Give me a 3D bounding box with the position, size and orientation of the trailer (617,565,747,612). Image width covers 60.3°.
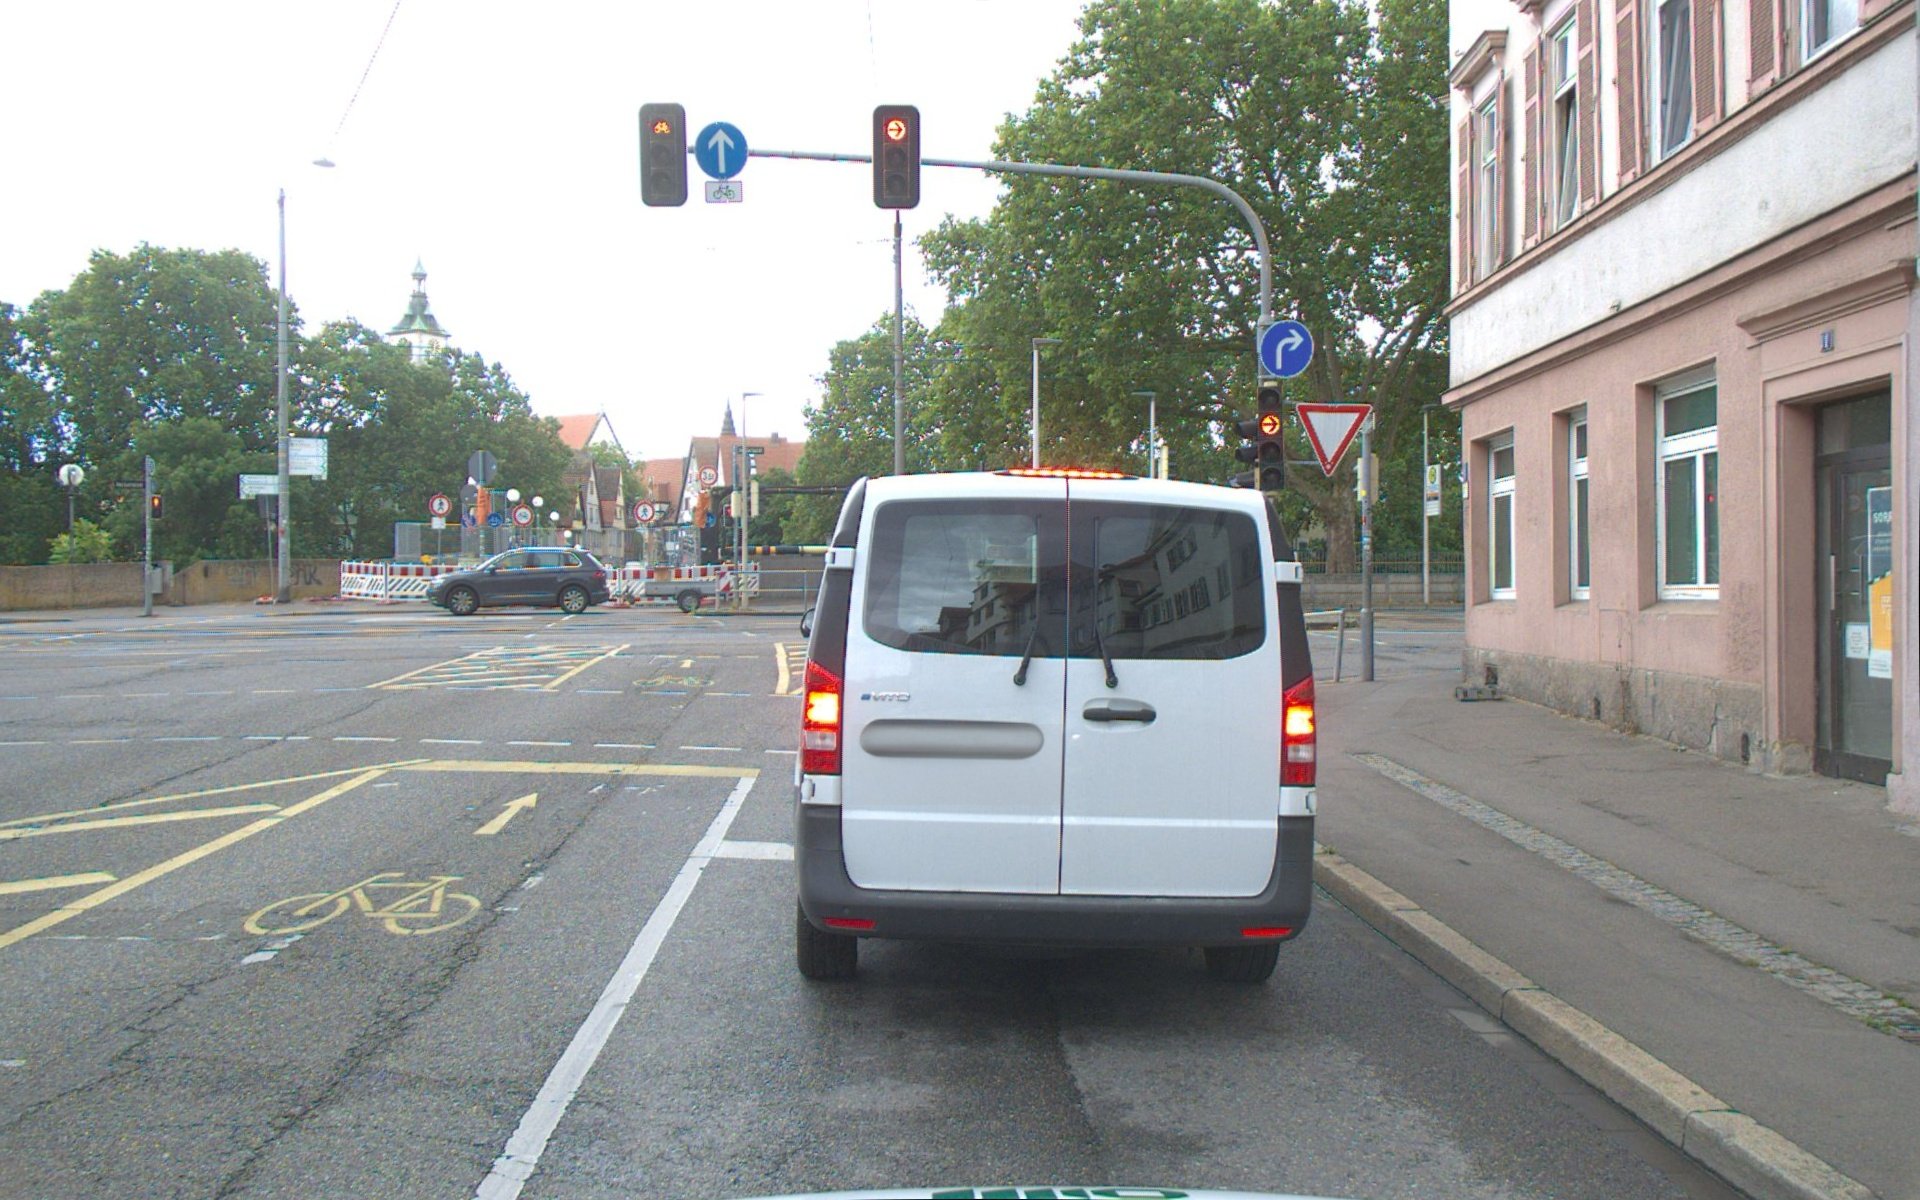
[{"bbox_3d":[-7.117,-0.301,42.236,3.147,1.178,1.993,0,1,-15],"label":"trailer"}]

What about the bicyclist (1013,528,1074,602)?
[{"bbox_3d":[2.505,-1.049,49.571,1.538,2.194,1.243,0,0,-15],"label":"bicyclist"}]

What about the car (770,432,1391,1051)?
[{"bbox_3d":[0.316,0.389,7.383,1.953,1.956,4.248,1,2,-2],"label":"car"}]

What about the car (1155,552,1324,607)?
[{"bbox_3d":[7.628,-0.562,45.345,4.200,1.478,1.894,0,0,-12],"label":"car"}]

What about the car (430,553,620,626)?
[{"bbox_3d":[-10.786,-0.275,41.244,4.443,1.663,1.993,-2,0,-14],"label":"car"}]
